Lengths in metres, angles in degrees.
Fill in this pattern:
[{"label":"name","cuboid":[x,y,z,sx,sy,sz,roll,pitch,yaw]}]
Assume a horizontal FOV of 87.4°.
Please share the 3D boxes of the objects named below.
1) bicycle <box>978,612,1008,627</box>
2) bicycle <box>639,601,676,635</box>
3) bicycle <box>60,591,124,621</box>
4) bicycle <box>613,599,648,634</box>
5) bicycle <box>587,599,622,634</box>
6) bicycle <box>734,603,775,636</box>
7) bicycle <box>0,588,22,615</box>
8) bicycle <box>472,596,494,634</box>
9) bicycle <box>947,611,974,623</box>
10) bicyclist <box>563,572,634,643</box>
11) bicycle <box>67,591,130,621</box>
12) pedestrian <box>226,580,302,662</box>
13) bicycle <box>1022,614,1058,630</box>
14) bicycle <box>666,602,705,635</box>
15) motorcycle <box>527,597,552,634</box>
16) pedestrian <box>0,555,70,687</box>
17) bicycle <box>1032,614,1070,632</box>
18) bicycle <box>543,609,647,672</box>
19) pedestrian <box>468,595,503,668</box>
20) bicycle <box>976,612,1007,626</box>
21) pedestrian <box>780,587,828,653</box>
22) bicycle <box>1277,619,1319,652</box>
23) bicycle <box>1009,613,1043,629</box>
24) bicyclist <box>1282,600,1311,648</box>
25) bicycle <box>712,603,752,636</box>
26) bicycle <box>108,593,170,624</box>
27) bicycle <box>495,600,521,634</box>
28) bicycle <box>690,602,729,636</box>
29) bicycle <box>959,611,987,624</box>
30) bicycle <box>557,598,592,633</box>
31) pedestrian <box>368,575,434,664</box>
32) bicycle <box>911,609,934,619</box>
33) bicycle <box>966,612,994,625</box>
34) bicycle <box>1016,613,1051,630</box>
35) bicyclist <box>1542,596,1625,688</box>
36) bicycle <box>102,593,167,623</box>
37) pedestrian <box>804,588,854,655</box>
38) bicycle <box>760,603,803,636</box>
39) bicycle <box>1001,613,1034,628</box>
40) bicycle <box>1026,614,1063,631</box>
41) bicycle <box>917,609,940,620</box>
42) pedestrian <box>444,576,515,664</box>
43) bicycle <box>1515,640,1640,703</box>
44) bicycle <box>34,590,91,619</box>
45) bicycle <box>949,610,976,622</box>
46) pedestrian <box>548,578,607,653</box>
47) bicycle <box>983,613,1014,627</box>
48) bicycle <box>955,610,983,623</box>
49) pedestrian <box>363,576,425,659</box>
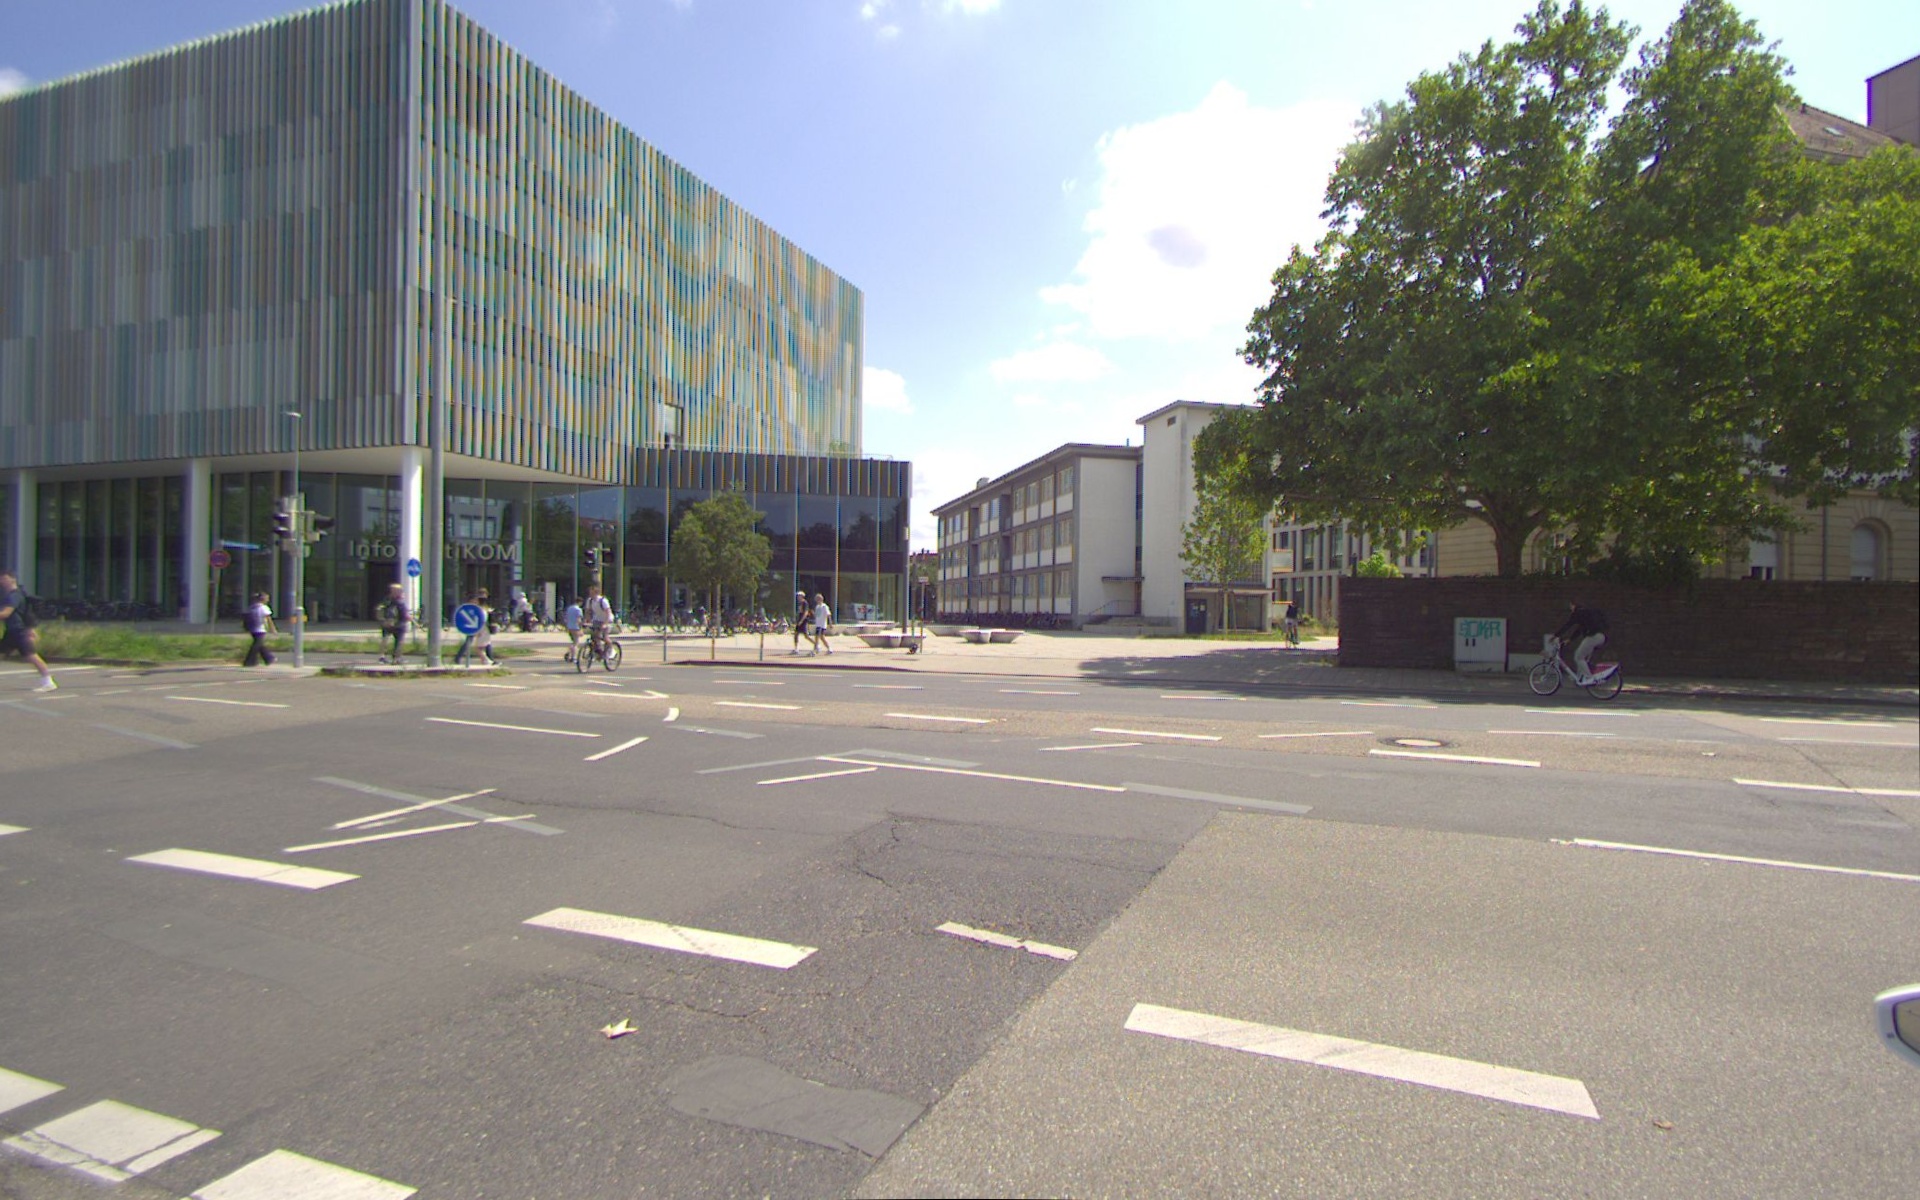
[{"label":"bicycle","cuboid":[2.475,1.459,75.247,2.207,1.030,0.650,1,0,-10]},{"label":"bicycle","cuboid":[-14.628,0.834,48.435,0.988,1.572,3.388,1,-1,-29]},{"label":"bicycle","cuboid":[-45.601,0.343,52.785,0.609,1.514,2.512,1,0,24]},{"label":"bicycle","cuboid":[-15.779,0.772,48.034,0.988,1.572,3.388,1,-1,-29]},{"label":"bicycle","cuboid":[-16.881,0.758,47.664,0.988,1.572,3.388,1,-1,-29]},{"label":"bicycle","cuboid":[-10.229,0.933,49.914,0.988,1.572,3.388,1,-1,-29]},{"label":"bicycle","cuboid":[-54.120,0.102,56.386,0.609,1.514,2.071,1,0,24]},{"label":"bicycle","cuboid":[-21.672,0.655,45.651,0.799,1.665,3.394,1,-1,-24]},{"label":"bicycle","cuboid":[0.046,1.457,86.636,2.207,1.030,0.650,1,0,-10]},{"label":"bicyclist","cuboid":[-7.796,0.157,21.695,0.953,1.463,1.076,1,0,23]},{"label":"bicycle","cuboid":[-46.118,0.332,53.818,0.609,1.514,2.512,1,0,24]},{"label":"pedestrian","cuboid":[-14.573,0.427,21.038,0.952,1.650,0.879,1,0,16]},{"label":"bicycle","cuboid":[5.092,1.413,64.300,2.207,1.030,0.650,1,0,-10]},{"label":"bicycle","cuboid":[-13.297,0.874,48.593,0.988,1.572,3.388,1,-1,-29]},{"label":"motorcycle","cuboid":[-19.475,0.702,46.589,0.957,1.661,3.281,1,-1,-21]},{"label":"pedestrian","cuboid":[-14.359,0.313,15.377,0.959,1.951,1.026,1,0,45]},{"label":"bicycle","cuboid":[5.642,1.420,62.199,2.207,1.030,0.650,1,0,-10]},{"label":"bicycle","cuboid":[-7.825,0.845,21.640,0.868,1.268,2.164,1,0,23]},{"label":"pedestrian","cuboid":[-10.217,0.671,21.626,0.408,1.524,0.591,1,0,5]},{"label":"bicycle","cuboid":[2.397,1.461,76.188,2.207,1.030,0.650,1,0,-10]},{"label":"pedestrian","cuboid":[-4.758,0.592,30.572,1.099,1.951,0.962,1,0,-37]},{"label":"bicycle","cuboid":[11.648,1.215,34.608,0.668,1.086,2.389,1,-1,36]},{"label":"bicycle","cuboid":[4.441,1.411,67.788,2.207,1.030,0.650,1,0,-10]},{"label":"bicyclist","cuboid":[11.543,0.825,34.430,0.668,1.621,0.920,1,0,36]},{"label":"bicycle","cuboid":[-11.214,0.941,49.361,0.988,1.572,3.388,1,-1,-29]},{"label":"bicycle","cuboid":[-42.164,0.442,51.626,0.609,1.514,2.452,1,0,24]},{"label":"bicycle","cuboid":[-20.713,0.771,46.070,0.919,1.513,2.675,1,0,-21]},{"label":"bicycle","cuboid":[-12.280,0.907,49.061,0.988,1.572,3.388,1,-1,-29]},{"label":"bicycle","cuboid":[1.088,1.452,82.105,2.207,1.030,0.650,1,0,-10]},{"label":"bicycle","cuboid":[-18.167,0.716,47.243,1.039,1.572,3.388,1,-1,-29]},{"label":"pedestrian","cuboid":[-12.687,0.435,22.816,0.952,1.951,0.879,1,0,11]},{"label":"bicycle","cuboid":[-3.798,1.425,102.090,2.207,1.030,0.650,1,0,-10]},{"label":"bicycle","cuboid":[1.583,1.455,79.600,2.207,1.030,0.650,1,0,-10]},{"label":"bicycle","cuboid":[4.805,1.411,65.602,2.207,1.030,0.650,1,0,-10]},{"label":"bicyclist","cuboid":[11.922,0.778,19.220,0.777,1.690,1.099,1,0,-33]},{"label":"bicycle","cuboid":[-42.957,0.420,52.281,0.717,1.514,2.506,1,0,33]},{"label":"pedestrian","cuboid":[-3.886,0.631,29.761,1.102,1.951,0.959,1,0,-44]},{"label":"bicycle","cuboid":[-8.850,0.926,49.666,0.988,1.572,3.388,1,-1,-29]},{"label":"bicycle","cuboid":[3.963,1.403,69.198,2.207,1.030,0.650,1,0,-10]},{"label":"bicycle","cuboid":[5.341,1.417,63.408,2.207,1.030,0.650,1,0,-10]},{"label":"bicycle","cuboid":[-3.128,1.419,99.455,2.207,1.030,0.650,1,0,-10]},{"label":"pedestrian","cuboid":[-11.019,0.444,23.046,0.954,1.951,1.108,1,0,28]},{"label":"bicycle","cuboid":[11.858,1.343,19.340,0.808,1.077,1.878,1,0,-32]},{"label":"bicycle","cuboid":[-48.328,0.267,54.129,0.609,1.514,2.200,1,0,24]},{"label":"bicycle","cuboid":[0.214,1.352,85.639,2.207,1.030,0.650,1,0,-10]},{"label":"pedestrian","cuboid":[-10.247,0.402,26.931,0.954,1.951,1.108,1,0,28]},{"label":"bicycle","cuboid":[2.820,1.463,73.925,2.207,1.030,0.650,1,0,-10]},{"label":"bicycle","cuboid":[0.735,1.390,83.607,2.207,1.030,0.650,1,0,-10]},{"label":"pedestrian","cuboid":[-13.687,0.412,24.318,0.953,1.951,0.879,1,0,22]}]
